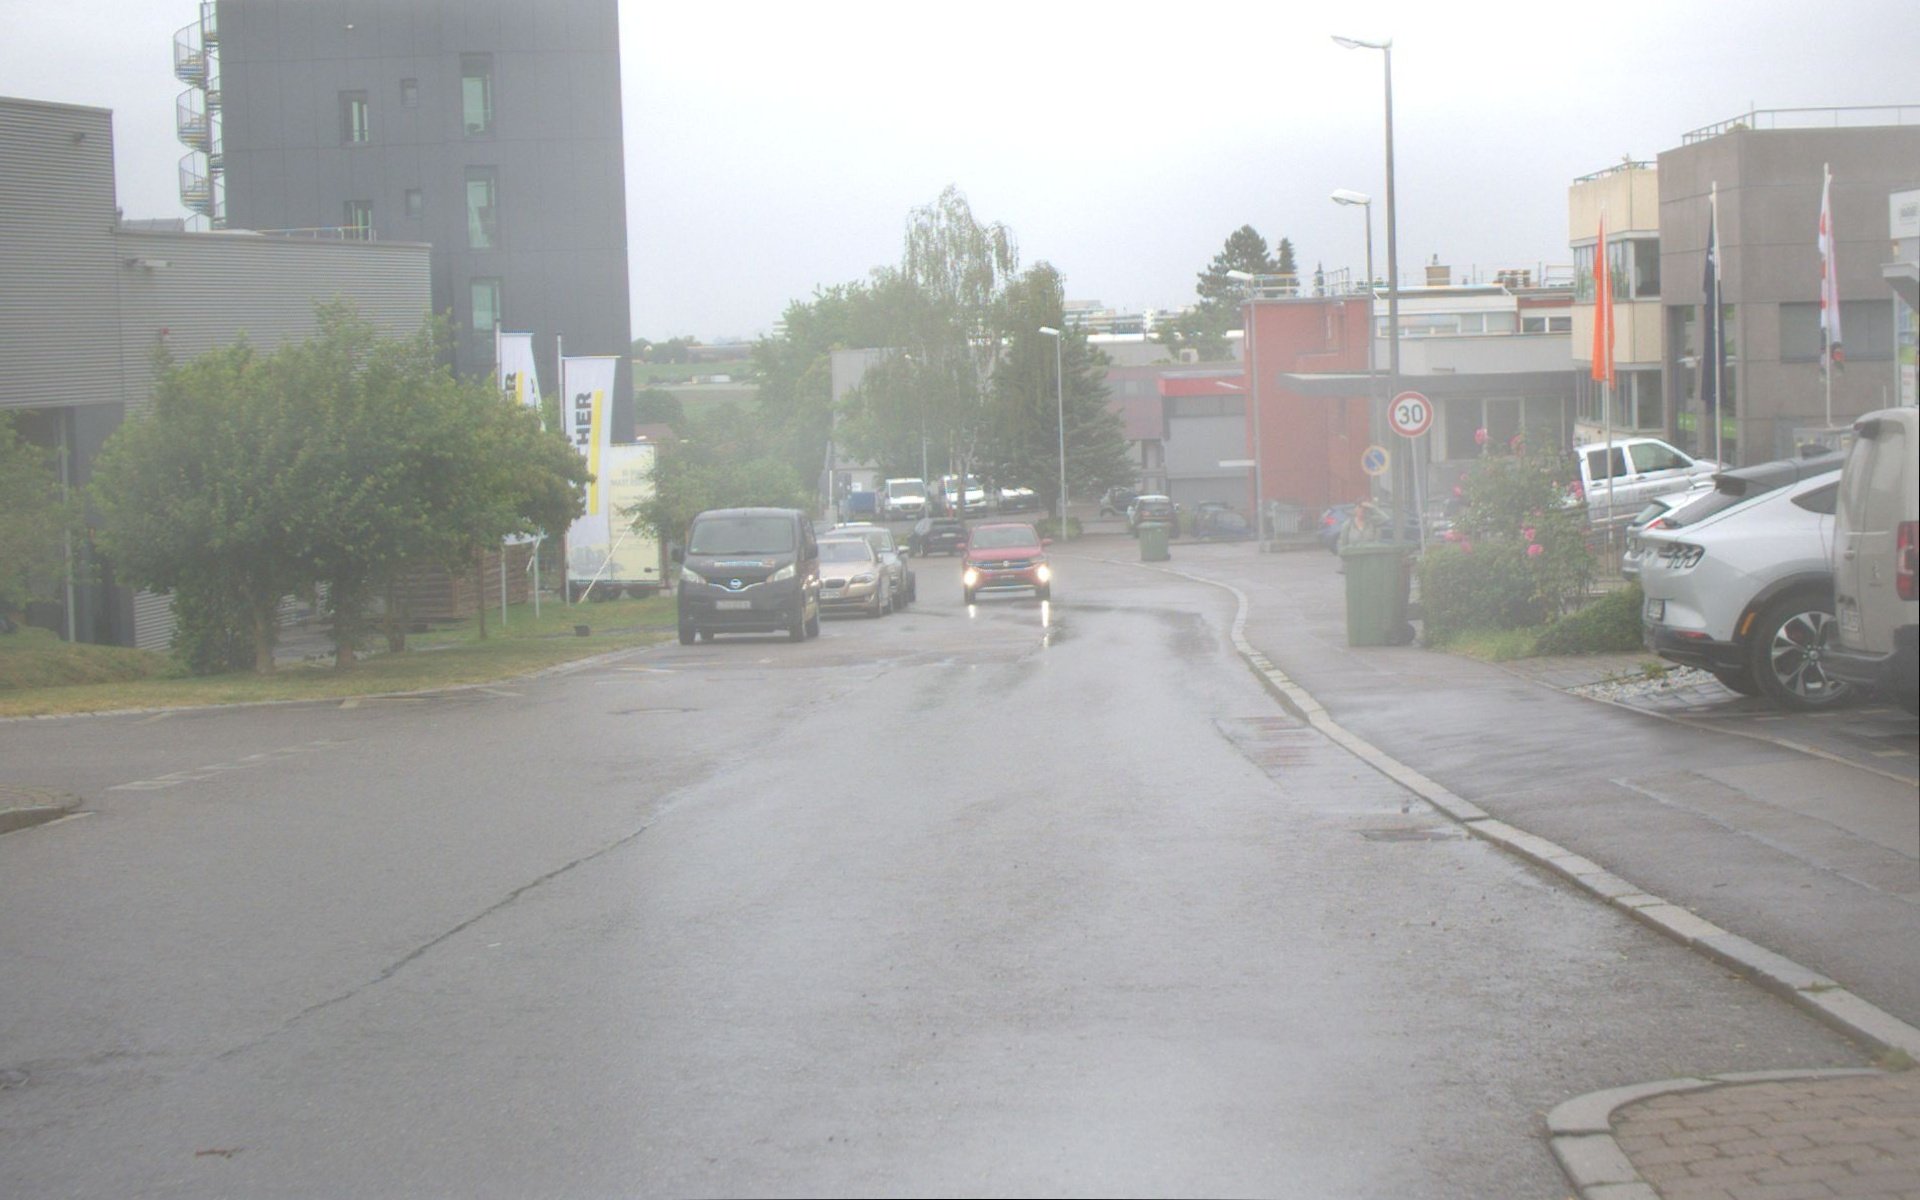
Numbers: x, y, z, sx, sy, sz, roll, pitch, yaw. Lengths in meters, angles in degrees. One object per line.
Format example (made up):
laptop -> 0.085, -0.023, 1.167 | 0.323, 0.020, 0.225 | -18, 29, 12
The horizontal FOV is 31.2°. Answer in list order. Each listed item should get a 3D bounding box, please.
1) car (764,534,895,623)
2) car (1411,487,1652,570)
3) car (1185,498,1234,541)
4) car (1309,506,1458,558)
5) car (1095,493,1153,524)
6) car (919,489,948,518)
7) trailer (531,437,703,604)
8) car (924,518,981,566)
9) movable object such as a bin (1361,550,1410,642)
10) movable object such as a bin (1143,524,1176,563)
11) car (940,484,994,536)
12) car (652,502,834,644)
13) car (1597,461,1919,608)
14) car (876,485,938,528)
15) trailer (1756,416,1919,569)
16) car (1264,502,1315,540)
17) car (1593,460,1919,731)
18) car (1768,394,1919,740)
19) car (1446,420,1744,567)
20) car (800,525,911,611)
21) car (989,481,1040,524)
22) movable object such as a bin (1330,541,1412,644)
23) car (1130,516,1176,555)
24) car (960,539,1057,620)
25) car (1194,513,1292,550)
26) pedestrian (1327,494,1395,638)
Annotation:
car -> -2.320, -0.423, 62.439 | 1.956, 1.456, 5.247 | -2, 1, 2
car -> 12.876, -1.625, 77.717 | 5.091, 1.608, 1.925 | -3, 2, 2
car -> 10.156, -3.257, 140.182 | 1.739, 1.648, 4.000 | -2, 1, 2
car -> 11.646, -1.876, 94.690 | 3.895, 1.379, 1.821 | -1, 1, 1
car -> 7.722, -4.293, 161.708 | 2.547, 1.347, 1.242 | -2, 2, -3
car -> -1.380, -5.051, 180.459 | 1.290, 1.419, 2.547 | -2, 1, -5
trailer -> -9.081, -2.085, 90.917 | 4.182, 4.188, 2.002 | -2, 1, 40
car -> -0.308, -2.143, 128.581 | 1.956, 1.670, 4.473 | -2, 0, -2
movable object such as a bin -> 4.614, -0.047, 37.303 | 0.472, 0.964, 0.514 | -2, 1, 4
movable object such as a bin -> 5.756, -1.627, 99.230 | 0.806, 1.089, 0.709 | -3, 1, -3
car -> 0.329, -4.558, 174.801 | 2.192, 2.451, 4.001 | -2, 1, -6
car -> -2.960, -0.405, 47.807 | 1.916, 1.825, 4.847 | -2, 1, 3
car -> 10.466, -0.852, 44.190 | 4.121, 1.568, 2.003 | -4, 0, 2
car -> -2.701, -4.726, 174.474 | 2.264, 2.007, 4.001 | -2, 1, -13
trailer -> 14.800, -1.830, 58.003 | 1.887, 2.408, 4.308 | -2, 2, 3
car -> 13.318, -3.199, 139.080 | 1.729, 1.417, 4.000 | -2, 1, 2
car -> 6.523, -0.148, 21.775 | 4.597, 1.533, 2.079 | -4, 1, 2
car -> 6.834, -0.286, 18.672 | 4.340, 1.767, 2.089 | -3, 1, 1
car -> 12.575, -2.098, 68.386 | 5.299, 2.006, 2.222 | -10, 0, 2
car -> -2.053, -0.647, 68.808 | 1.957, 1.571, 4.840 | -3, 1, 1
car -> 2.775, -4.964, 175.701 | 2.145, 2.007, 3.940 | -2, 1, -5
movable object such as a bin -> 4.263, -0.085, 35.714 | 0.772, 1.026, 0.808 | -2, 1, 4
car -> 7.831, -2.606, 139.572 | 1.697, 1.470, 4.000 | -2, 1, 2
car -> 1.028, -0.436, 71.055 | 1.747, 1.503, 3.935 | -4, 0, 3
car -> 10.004, -2.437, 121.682 | 3.401, 1.159, 1.792 | -2, 2, 4
pedestrian -> 4.992, -0.427, 42.834 | 0.736, 1.761, 0.808 | -2, 1, 4
